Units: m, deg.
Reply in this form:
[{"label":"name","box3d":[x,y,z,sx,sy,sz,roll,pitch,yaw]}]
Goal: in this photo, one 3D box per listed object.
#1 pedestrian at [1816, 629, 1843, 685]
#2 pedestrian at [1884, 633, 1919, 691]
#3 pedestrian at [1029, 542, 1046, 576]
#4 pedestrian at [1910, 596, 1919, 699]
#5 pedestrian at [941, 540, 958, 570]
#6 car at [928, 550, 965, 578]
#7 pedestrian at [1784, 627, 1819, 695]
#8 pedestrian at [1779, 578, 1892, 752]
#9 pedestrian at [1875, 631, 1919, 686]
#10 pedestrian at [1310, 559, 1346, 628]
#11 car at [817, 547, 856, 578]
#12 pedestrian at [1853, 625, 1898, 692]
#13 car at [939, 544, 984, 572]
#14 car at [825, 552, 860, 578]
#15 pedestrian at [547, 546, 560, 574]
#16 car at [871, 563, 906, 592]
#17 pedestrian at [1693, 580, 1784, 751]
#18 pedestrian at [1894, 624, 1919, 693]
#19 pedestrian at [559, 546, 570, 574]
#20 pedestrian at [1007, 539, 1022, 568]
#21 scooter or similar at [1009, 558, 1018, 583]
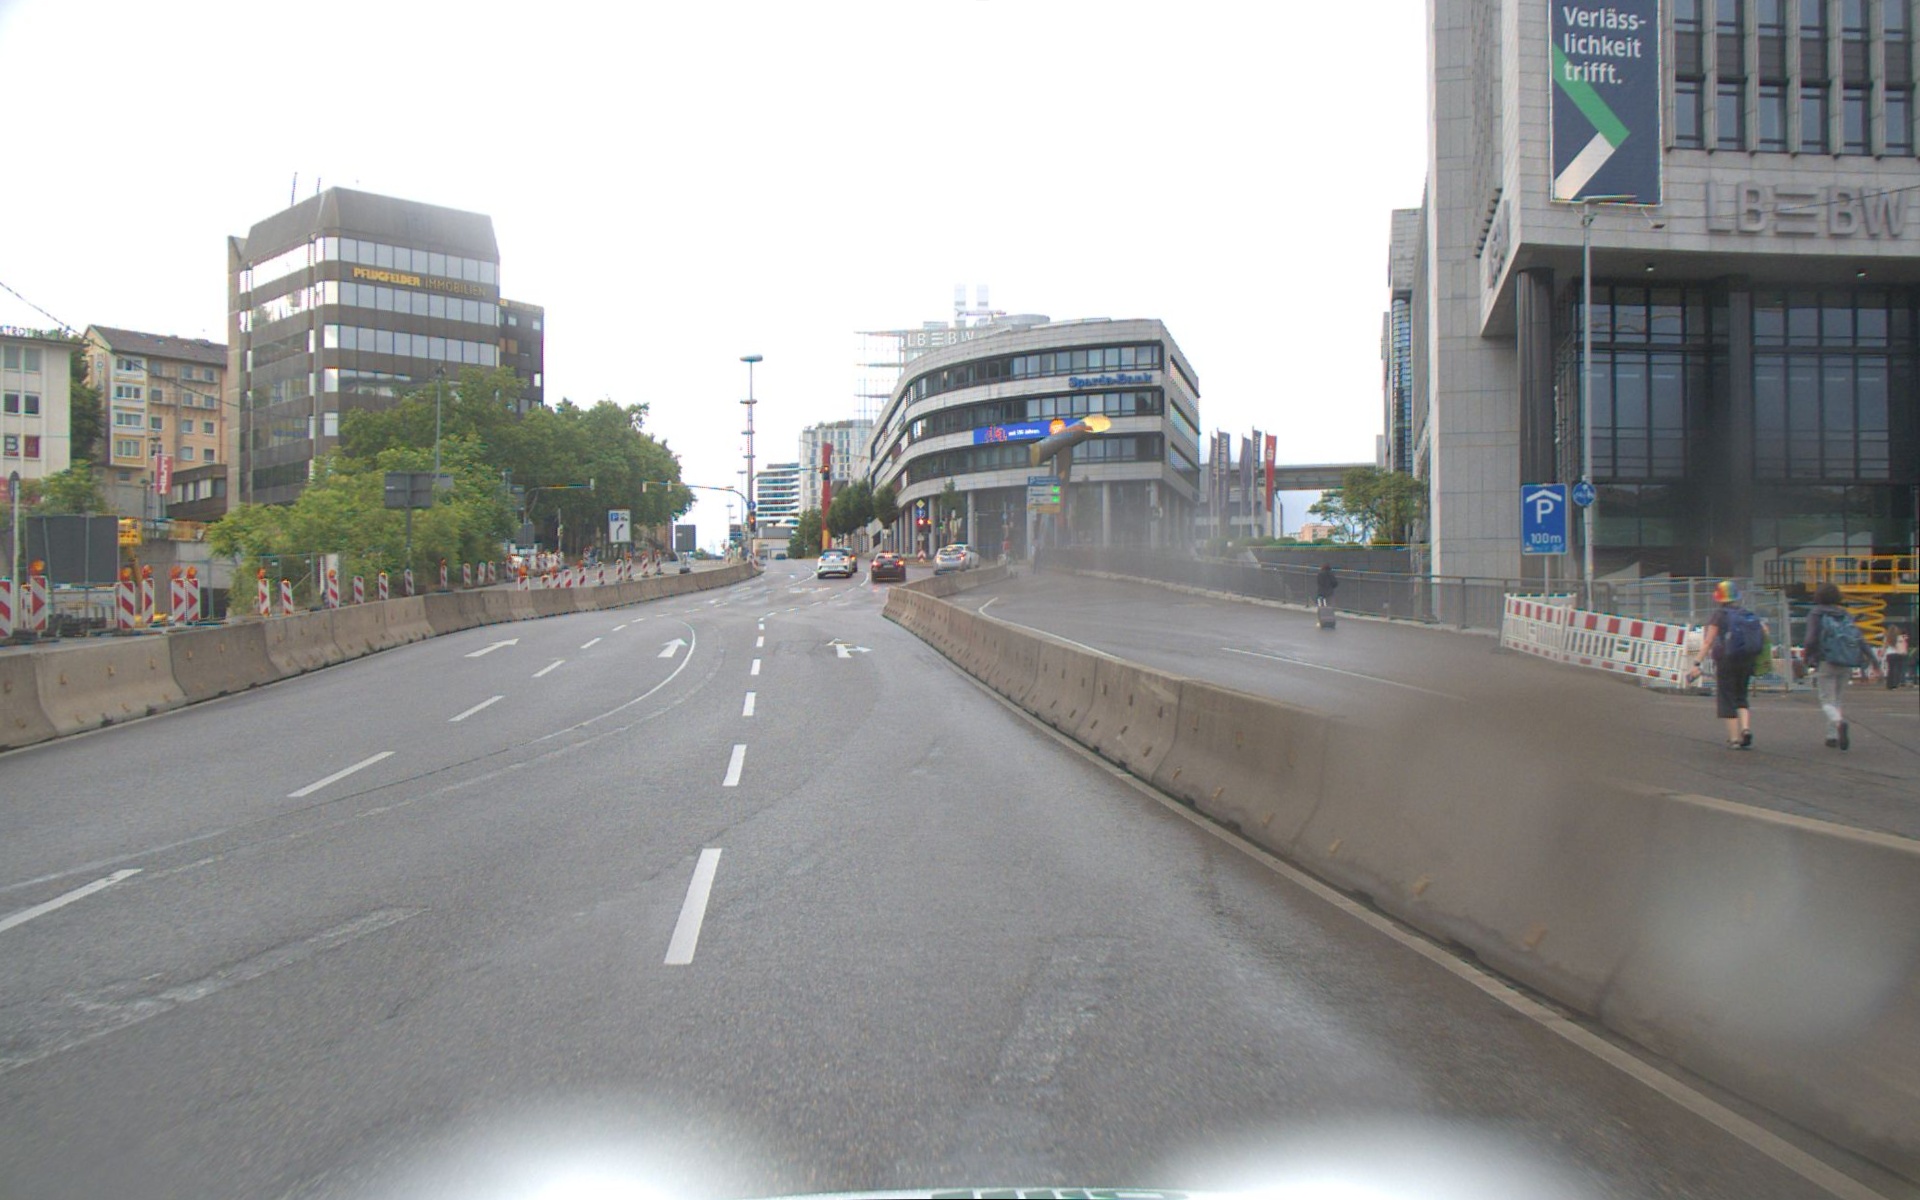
[{"label":"pedestrian","box3d":[26.021,1.695,49.491,0.690,1.644,0.565,-1,-1,26]},{"label":"pedestrian","box3d":[27.854,1.821,48.835,0.852,1.665,1.004,-1,-1,38]},{"label":"pedestrian","box3d":[4.028,-2.127,86.011,0.716,1.741,0.842,0,-1,-7]},{"label":"pedestrian","box3d":[16.121,0.771,27.225,0.709,1.665,0.916,-1,-1,22]},{"label":"pedestrian","box3d":[-0.753,-3.185,116.730,0.843,2.135,0.896,1,1,-30]},{"label":"car","box3d":[-0.776,-1.990,91.931,1.667,1.476,4.611,0,1,-5]},{"label":"pedestrian","box3d":[20.833,1.499,40.951,0.577,1.665,0.747,-1,-1,42]},{"label":"pedestrian","box3d":[8.456,0.613,16.017,0.842,1.621,0.952,-1,-1,21]},{"label":"pedestrian","box3d":[29.066,1.805,51.186,0.986,1.665,0.867,0,-1,-10]},{"label":"pedestrian","box3d":[8.996,-0.164,40.429,0.714,1.681,1.061,0,1,21]},{"label":"car","box3d":[-6.675,-2.059,89.649,1.924,1.575,4.218,0,2,-2]},{"label":"pedestrian","box3d":[22.984,1.456,41.541,0.848,1.665,1.008,-1,-1,22]},{"label":"car","box3d":[0.111,-2.582,100.489,1.733,1.662,4.586,0,2,13]},{"label":"car","box3d":[-7.020,-2.087,98.393,1.708,1.468,3.992,-1,2,-9]},{"label":"pedestrian","box3d":[-28.391,-2.780,115.479,0.746,1.956,0.741,0,-1,-4]},{"label":"car","box3d":[-3.701,-1.170,84.982,1.720,1.432,4.225,1,1,-3]},{"label":"pedestrian","box3d":[7.551,0.617,16.073,0.717,1.602,0.805,1,0,21]},{"label":"pedestrian","box3d":[23.782,1.442,41.121,0.848,1.665,1.008,-1,-1,22]},{"label":"pedestrian","box3d":[-27.617,-2.780,115.500,0.659,1.935,0.775,0,-1,-4]},{"label":"pedestrian","box3d":[3.765,-3.205,114.395,0.823,1.938,0.861,-1,-1,19]},{"label":"scooter or similar","box3d":[2.553,-1.395,78.949,0.341,1.183,0.573,0,1,8]}]
